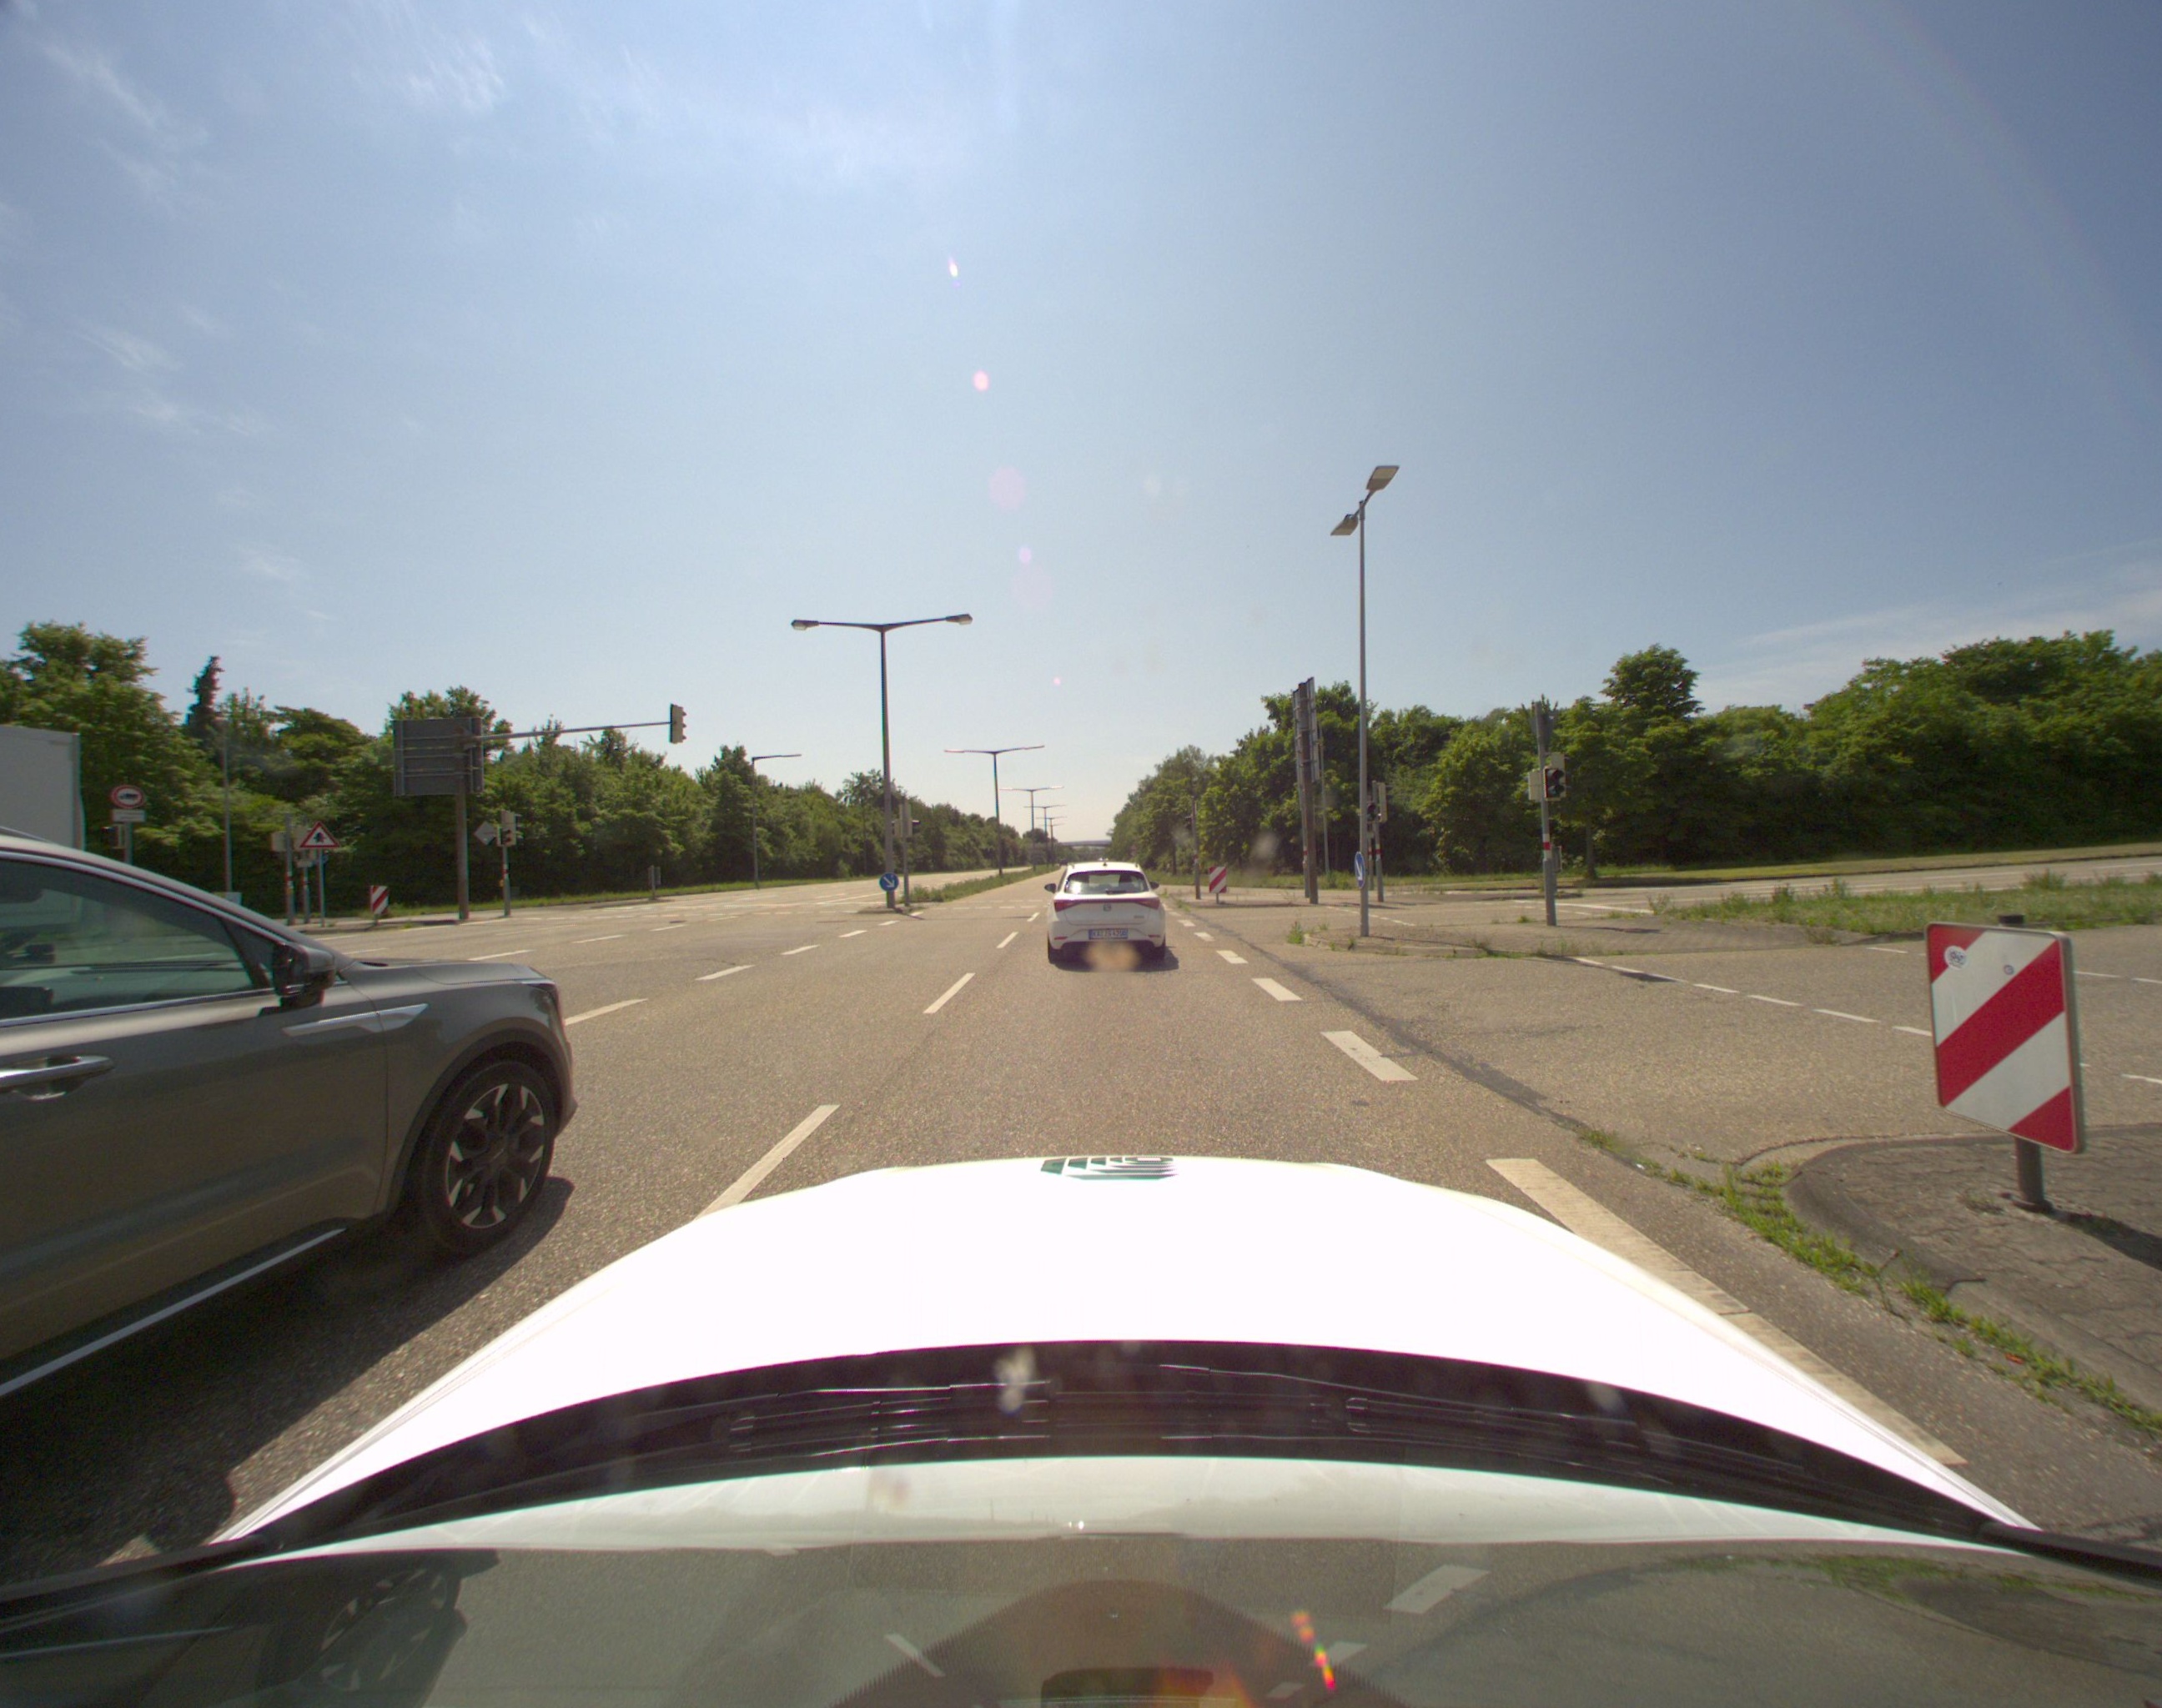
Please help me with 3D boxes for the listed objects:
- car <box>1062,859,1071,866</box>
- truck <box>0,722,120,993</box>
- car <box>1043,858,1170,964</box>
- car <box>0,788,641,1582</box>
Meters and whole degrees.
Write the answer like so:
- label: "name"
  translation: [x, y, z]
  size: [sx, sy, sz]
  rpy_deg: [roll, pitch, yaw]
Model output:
- label: "car"
  translation: [-3.794, 2.198, 212.711]
  size: [1.847, 1.709, 4.004]
  rpy_deg: [-3, 0, 3]
- label: "truck"
  translation: [-15.628, 0.069, 8.389]
  size: [2.678, 3.570, 7.269]
  rpy_deg: [-2, 0, 1]
- label: "car"
  translation: [0.402, 0.804, 12.938]
  size: [1.728, 1.428, 3.695]
  rpy_deg: [0, -1, 1]
- label: "car"
  translation: [-3.179, 0.719, 1.744]
  size: [1.797, 1.662, 4.645]
  rpy_deg: [-2, -1, 2]
